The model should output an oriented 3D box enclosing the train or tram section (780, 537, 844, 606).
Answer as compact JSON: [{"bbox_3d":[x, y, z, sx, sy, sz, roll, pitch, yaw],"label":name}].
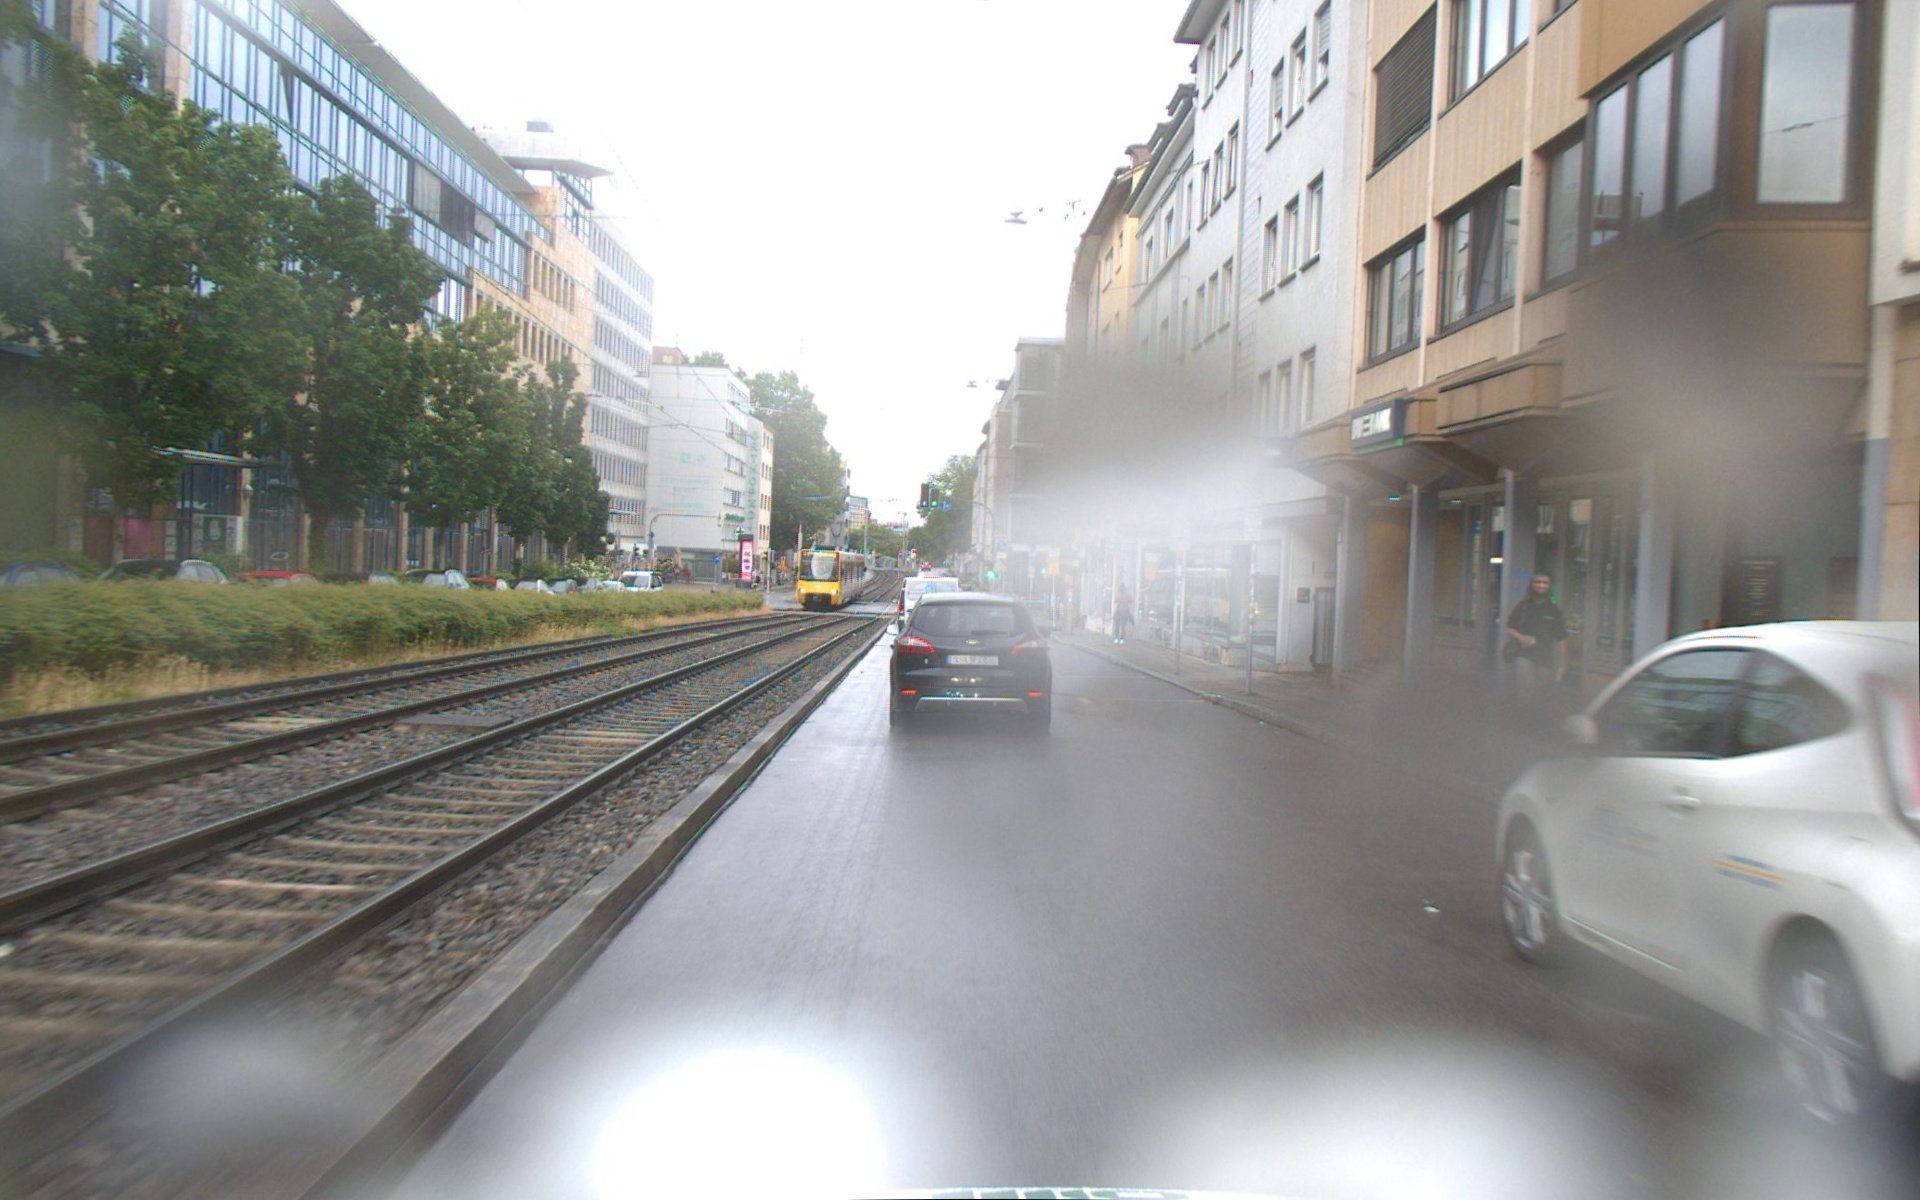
[{"bbox_3d":[-8.839,-1.641,99.761,3.443,3.843,11.323,2,0,-4],"label":"train or tram section"}]

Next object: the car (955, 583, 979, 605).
[{"bbox_3d":[0.518,-0.465,134.733,1.868,1.662,4.573,2,-1,0],"label":"car"}]

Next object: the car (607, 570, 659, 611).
[{"bbox_3d":[-16.055,-0.426,81.427,1.869,1.897,4.569,2,-1,-4],"label":"car"}]

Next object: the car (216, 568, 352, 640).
[{"bbox_3d":[-14.945,0.072,36.761,1.537,1.461,4.174,2,0,-4],"label":"car"}]

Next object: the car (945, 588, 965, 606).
[{"bbox_3d":[-0.499,-0.304,166.402,1.868,1.662,4.573,2,-1,0],"label":"car"}]

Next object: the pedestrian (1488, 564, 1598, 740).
[{"bbox_3d":[5.762,0.499,16.384,0.681,1.681,0.965,2,0,-2],"label":"pedestrian"}]

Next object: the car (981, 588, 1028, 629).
[{"bbox_3d":[1.944,0.381,72.767,1.868,1.662,4.573,2,-1,0],"label":"car"}]

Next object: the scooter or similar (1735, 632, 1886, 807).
[{"bbox_3d":[5.791,0.787,11.311,0.205,1.102,1.231,2,0,-9],"label":"scooter or similar"}]

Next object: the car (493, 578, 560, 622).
[{"bbox_3d":[-15.279,-0.002,58.447,1.537,1.461,4.174,2,0,-4],"label":"car"}]

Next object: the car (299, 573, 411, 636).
[{"bbox_3d":[-15.329,0.103,42.119,1.537,1.461,4.174,2,0,-4],"label":"car"}]

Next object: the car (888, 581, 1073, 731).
[{"bbox_3d":[0.189,0.595,18.871,1.868,1.488,3.444,2,-1,-1],"label":"car"}]

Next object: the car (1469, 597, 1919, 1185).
[{"bbox_3d":[3.200,0.765,6.030,1.525,1.502,3.565,2,0,-1],"label":"car"}]

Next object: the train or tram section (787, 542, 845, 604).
[{"bbox_3d":[-9.575,-1.712,111.045,3.468,3.843,11.323,2,0,-4],"label":"train or tram section"}]

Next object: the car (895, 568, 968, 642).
[{"bbox_3d":[-0.736,0.153,45.929,1.867,1.897,4.573,2,-1,0],"label":"car"}]

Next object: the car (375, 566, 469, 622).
[{"bbox_3d":[-15.155,-0.173,46.751,1.537,1.461,4.174,2,0,-4],"label":"car"}]

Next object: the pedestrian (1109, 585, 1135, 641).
[{"bbox_3d":[4.543,0.361,46.303,0.599,1.564,0.648,2,0,-2],"label":"pedestrian"}]
